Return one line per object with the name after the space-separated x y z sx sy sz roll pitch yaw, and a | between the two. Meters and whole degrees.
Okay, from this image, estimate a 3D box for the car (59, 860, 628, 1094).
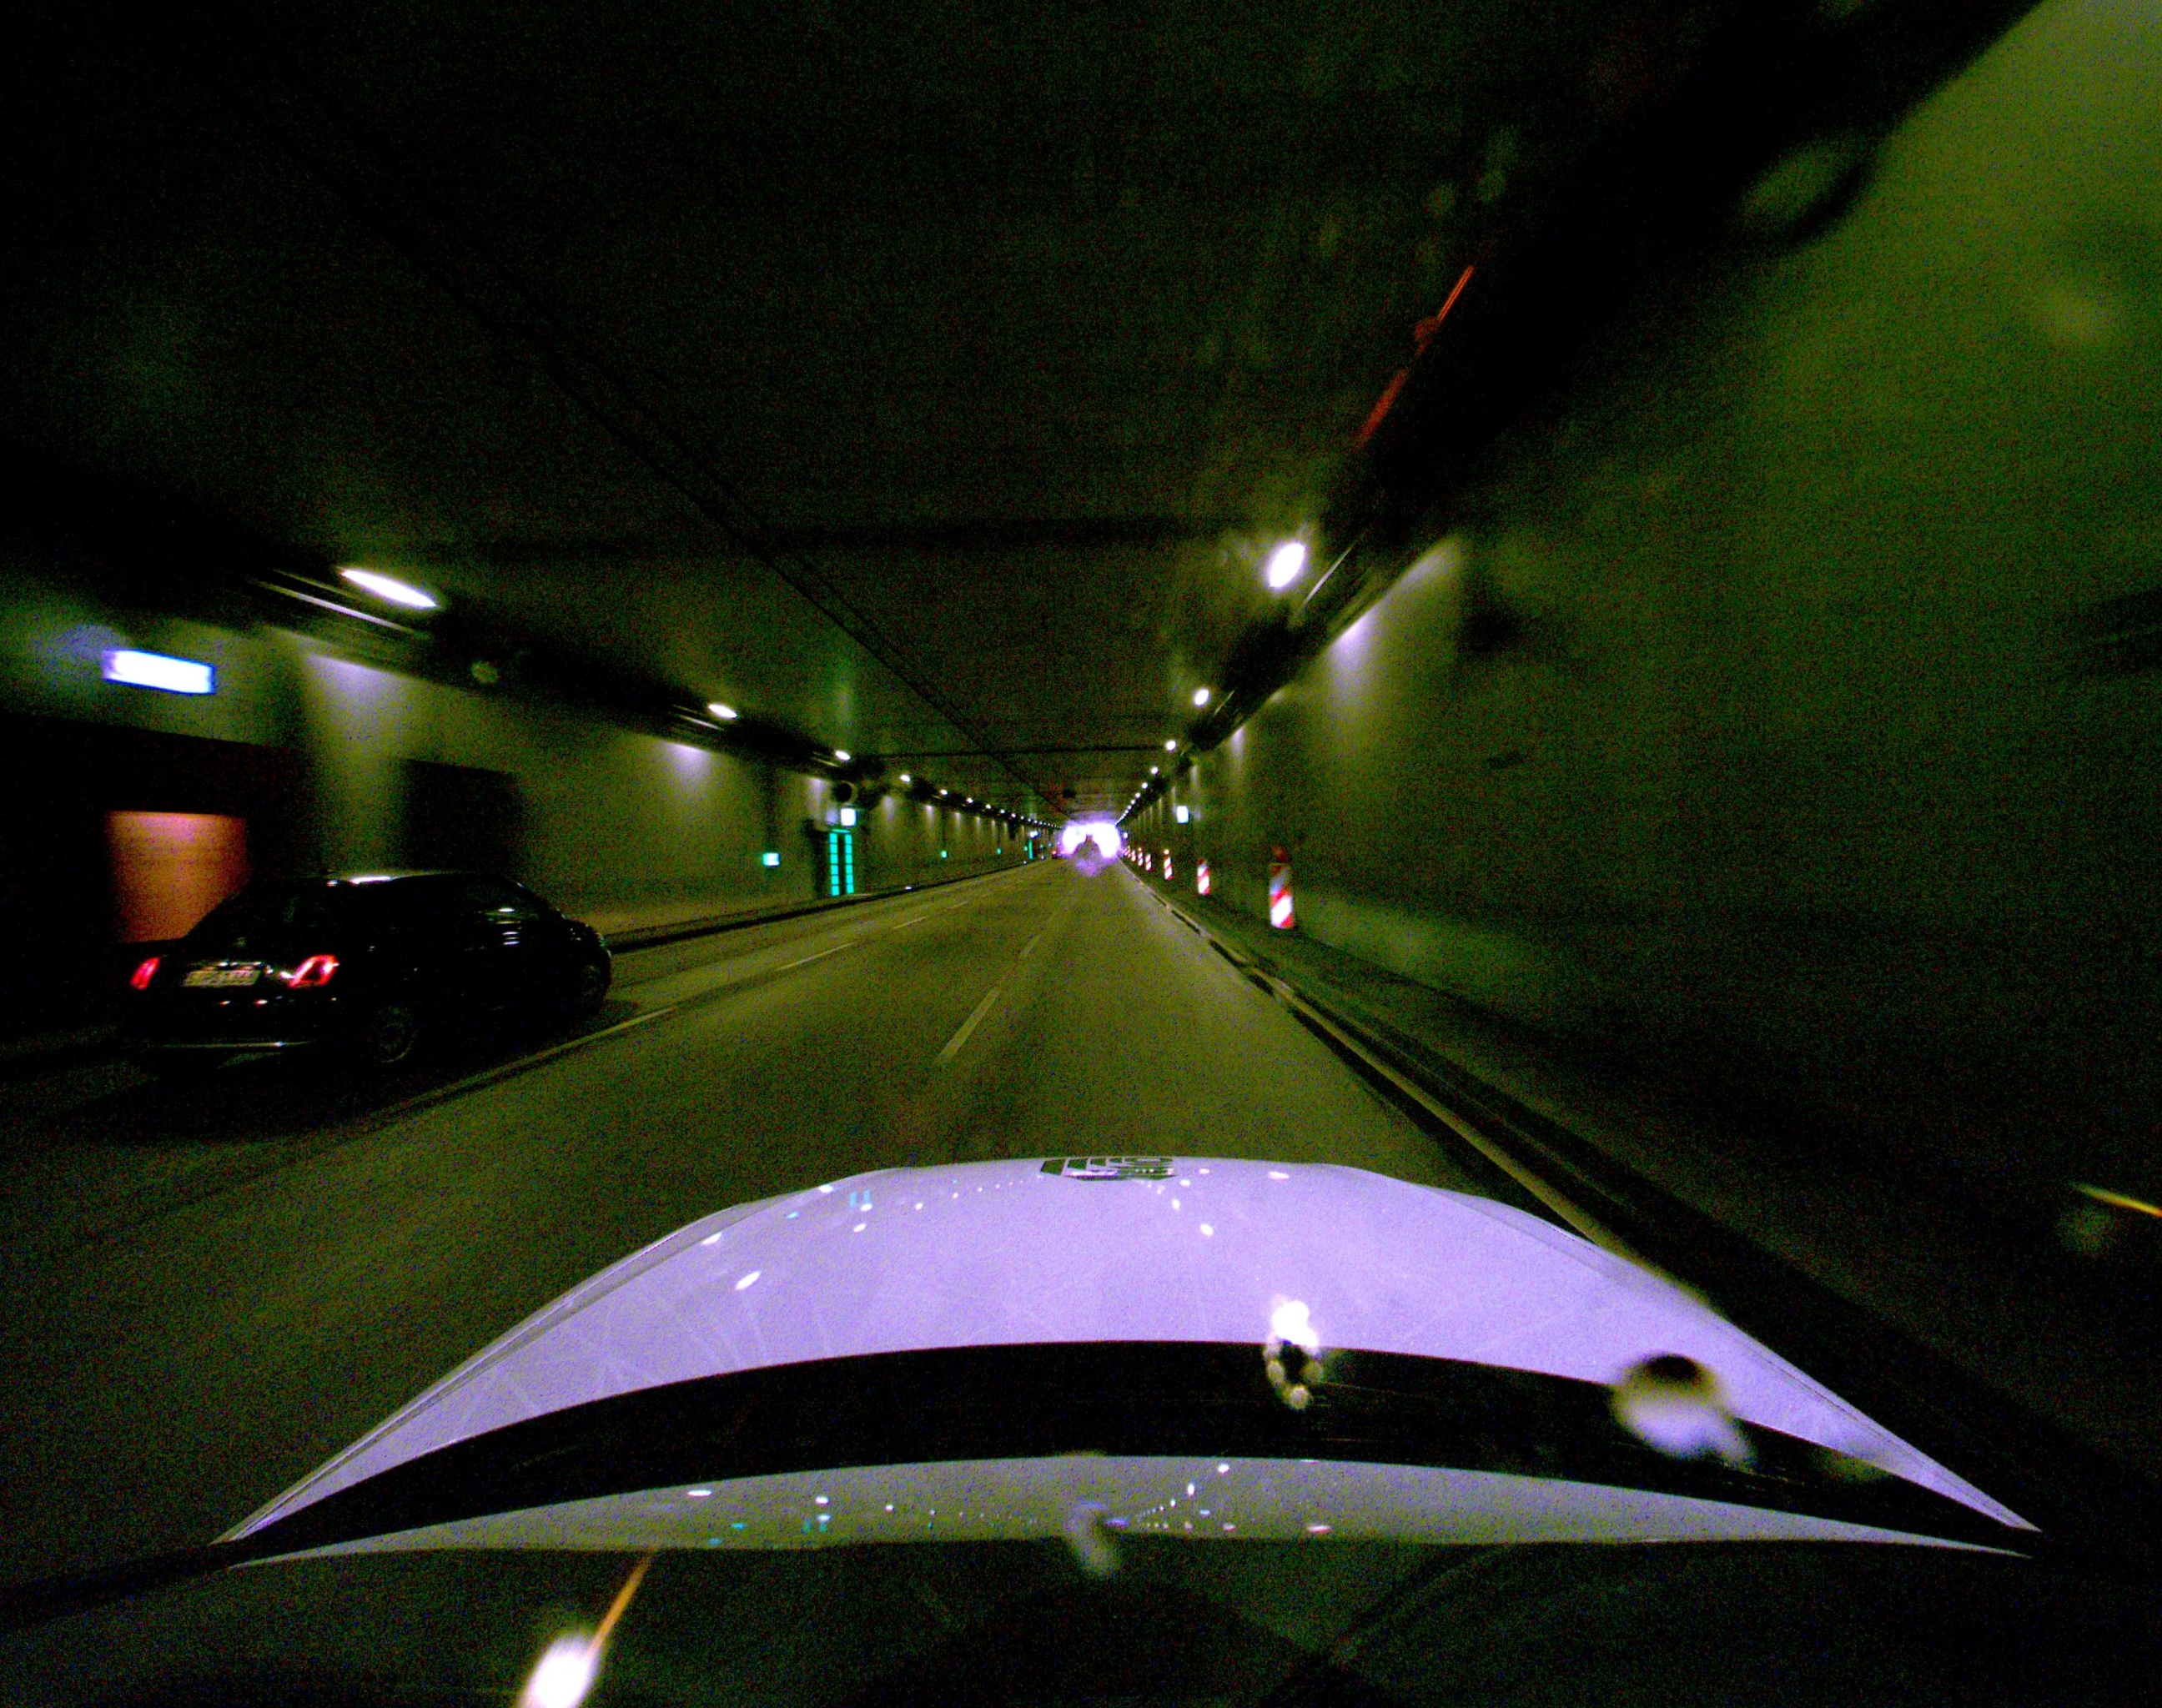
-5.789 0.815 7.079 1.606 1.454 3.574 -1 0 1 | car

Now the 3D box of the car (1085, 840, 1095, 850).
1.845 -1.926 169.662 1.986 2.013 4.002 -1 0 2 | car

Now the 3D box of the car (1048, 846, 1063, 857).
-3.323 -0.345 105.326 1.988 1.448 4.311 0 0 -2 | car

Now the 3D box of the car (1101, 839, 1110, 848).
5.674 -2.374 186.190 1.986 2.013 4.002 -1 0 2 | car
